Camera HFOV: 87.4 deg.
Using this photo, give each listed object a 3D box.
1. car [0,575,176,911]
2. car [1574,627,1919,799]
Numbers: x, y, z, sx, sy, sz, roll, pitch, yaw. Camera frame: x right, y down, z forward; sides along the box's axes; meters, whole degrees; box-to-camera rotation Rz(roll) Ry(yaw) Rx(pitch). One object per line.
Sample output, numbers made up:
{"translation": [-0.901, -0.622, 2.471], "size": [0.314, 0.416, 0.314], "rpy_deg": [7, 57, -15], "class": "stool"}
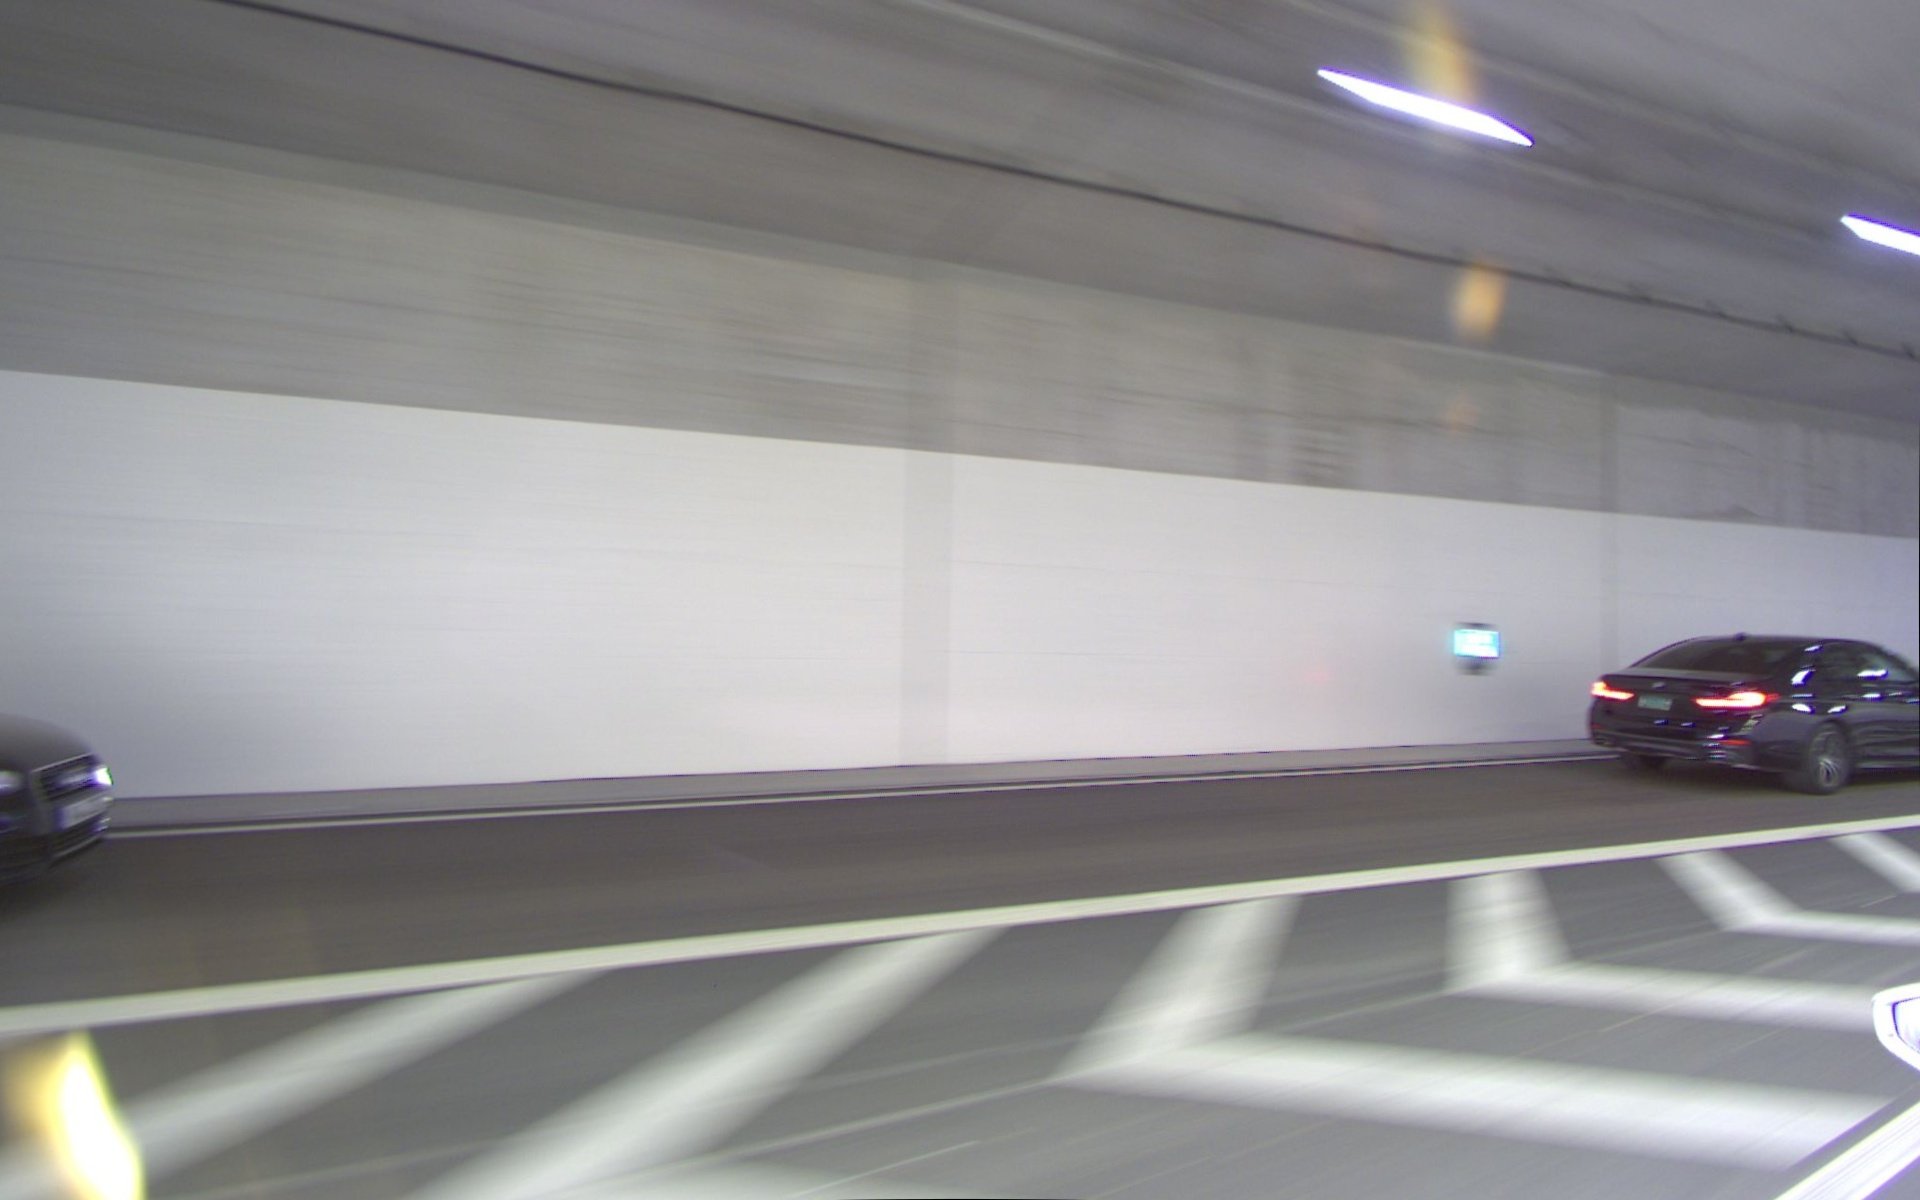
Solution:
{"translation": [-5.983, 0.559, 4.275], "size": [3.822, 1.420, 1.652], "rpy_deg": [2, -2, -24], "class": "car"}
{"translation": [8.869, 1.088, 10.509], "size": [4.782, 1.441, 1.692], "rpy_deg": [2, 0, -23], "class": "car"}
